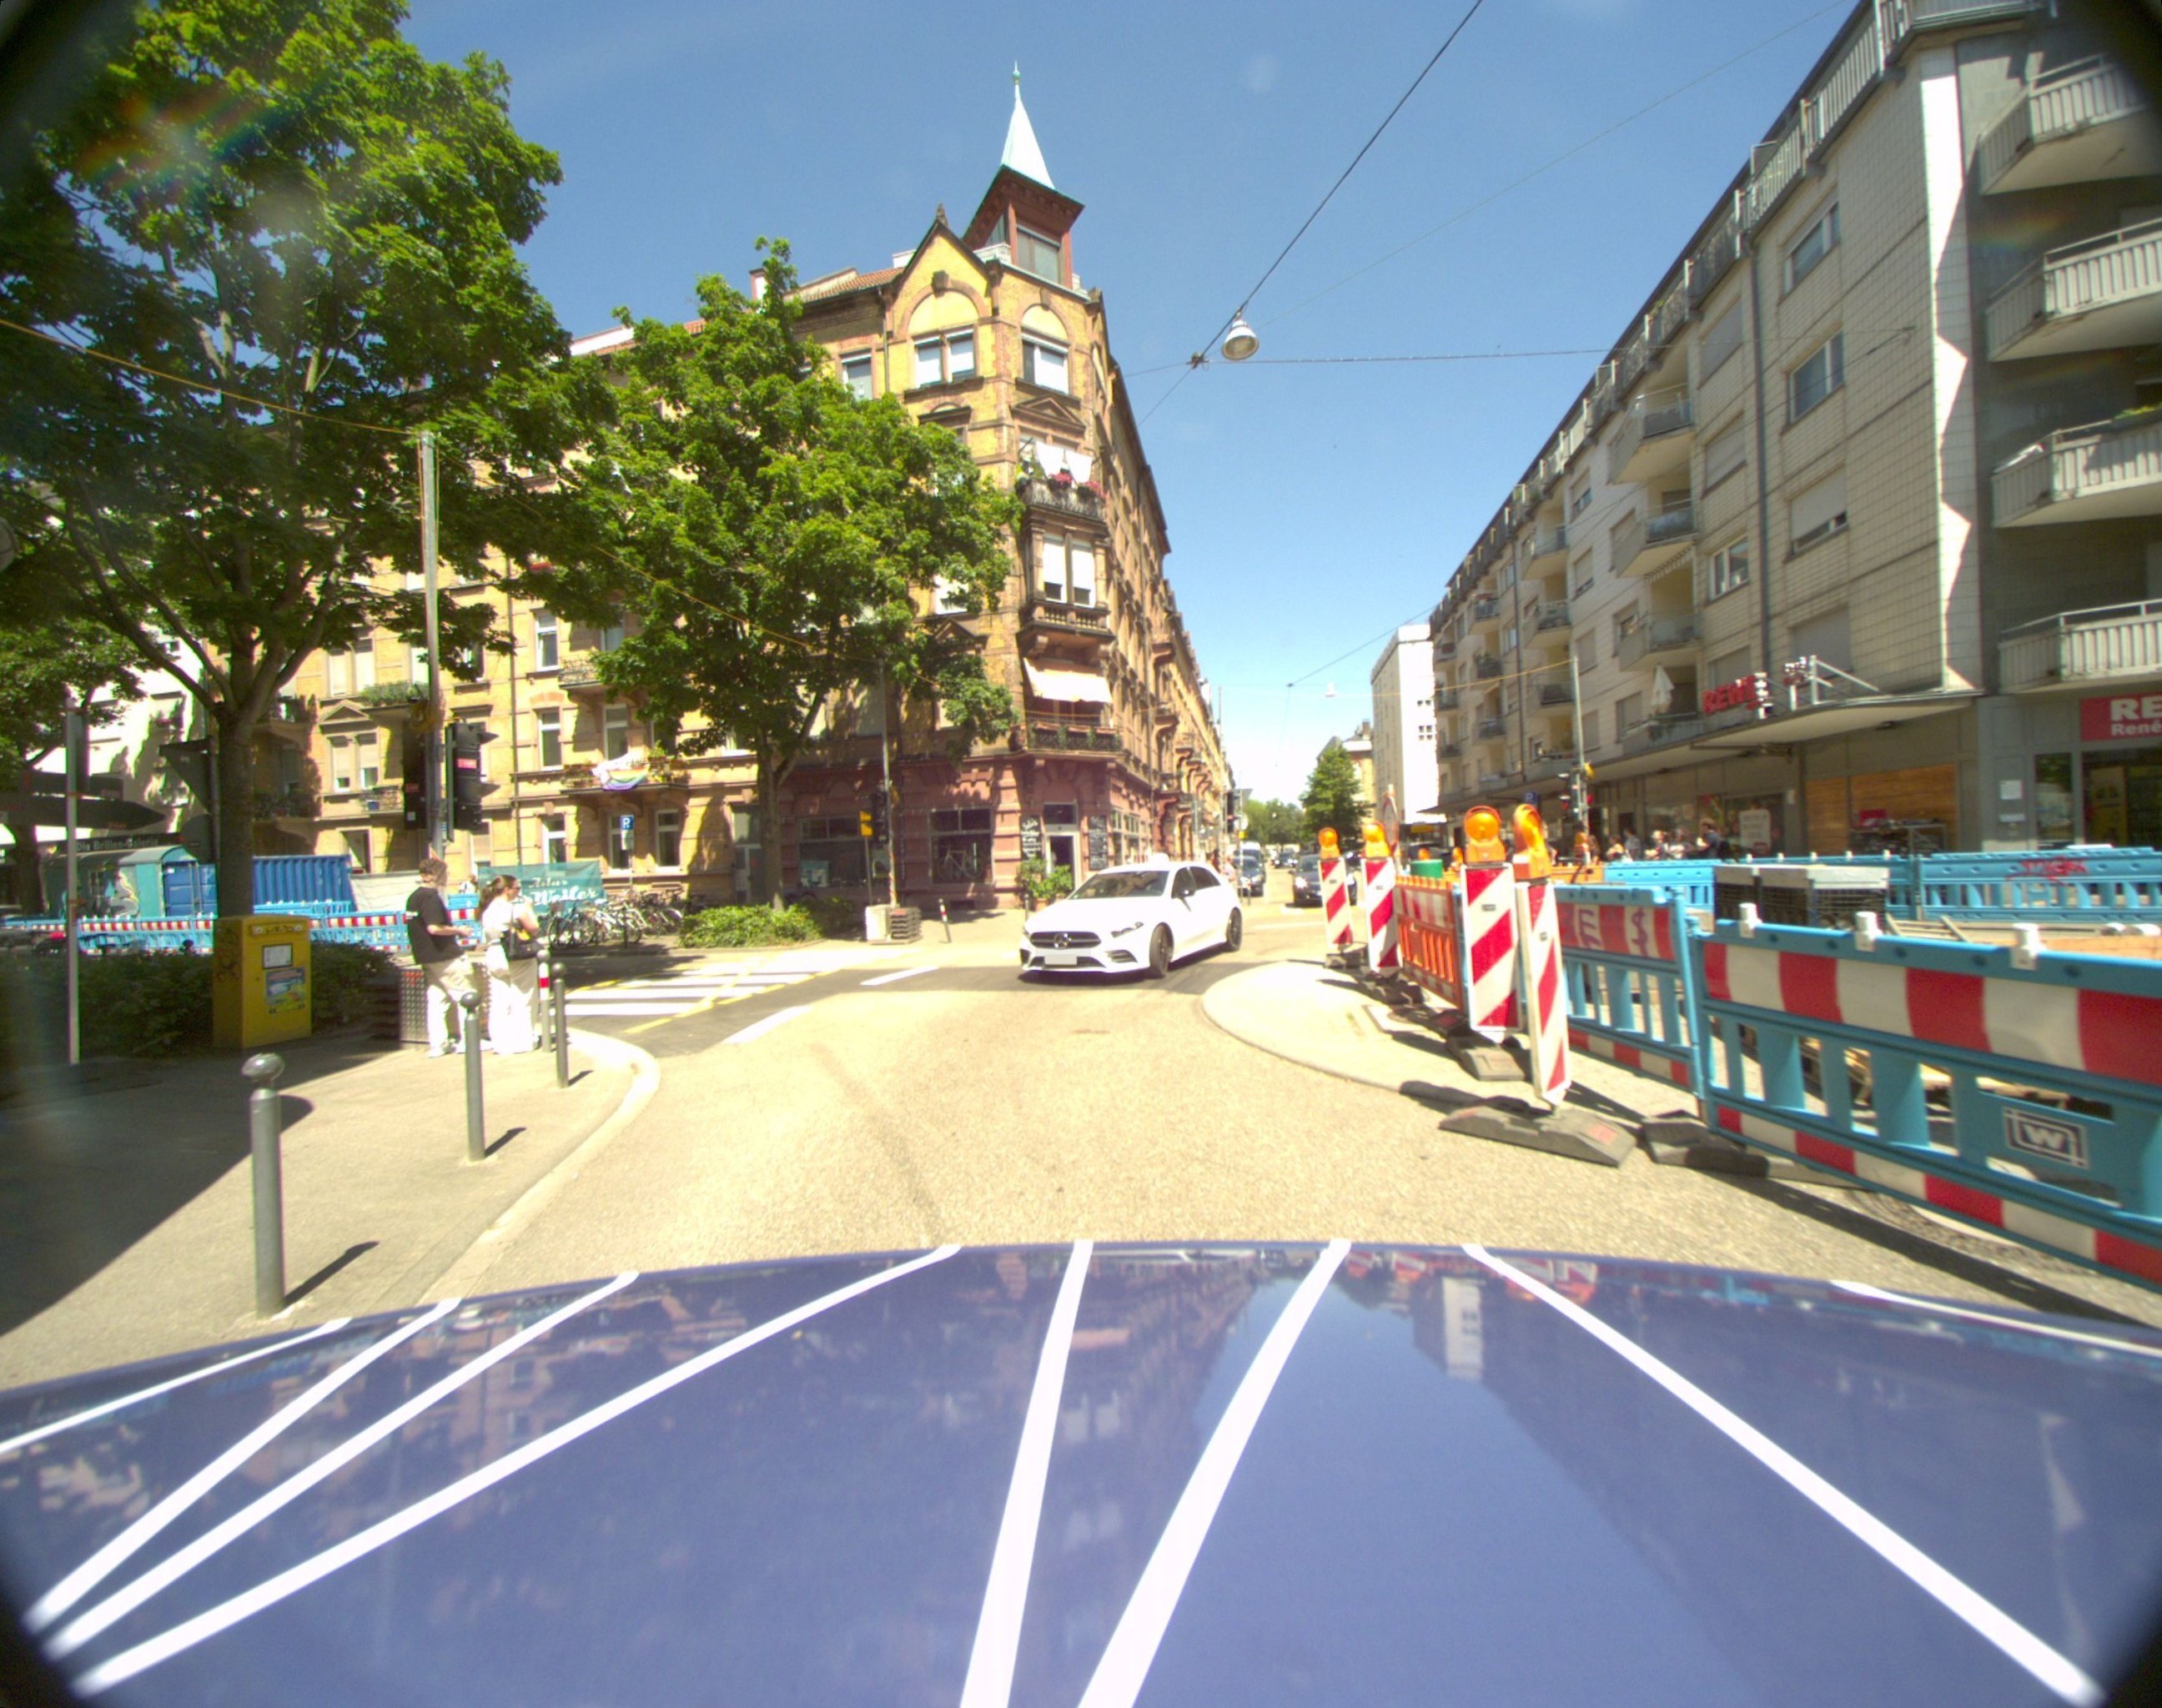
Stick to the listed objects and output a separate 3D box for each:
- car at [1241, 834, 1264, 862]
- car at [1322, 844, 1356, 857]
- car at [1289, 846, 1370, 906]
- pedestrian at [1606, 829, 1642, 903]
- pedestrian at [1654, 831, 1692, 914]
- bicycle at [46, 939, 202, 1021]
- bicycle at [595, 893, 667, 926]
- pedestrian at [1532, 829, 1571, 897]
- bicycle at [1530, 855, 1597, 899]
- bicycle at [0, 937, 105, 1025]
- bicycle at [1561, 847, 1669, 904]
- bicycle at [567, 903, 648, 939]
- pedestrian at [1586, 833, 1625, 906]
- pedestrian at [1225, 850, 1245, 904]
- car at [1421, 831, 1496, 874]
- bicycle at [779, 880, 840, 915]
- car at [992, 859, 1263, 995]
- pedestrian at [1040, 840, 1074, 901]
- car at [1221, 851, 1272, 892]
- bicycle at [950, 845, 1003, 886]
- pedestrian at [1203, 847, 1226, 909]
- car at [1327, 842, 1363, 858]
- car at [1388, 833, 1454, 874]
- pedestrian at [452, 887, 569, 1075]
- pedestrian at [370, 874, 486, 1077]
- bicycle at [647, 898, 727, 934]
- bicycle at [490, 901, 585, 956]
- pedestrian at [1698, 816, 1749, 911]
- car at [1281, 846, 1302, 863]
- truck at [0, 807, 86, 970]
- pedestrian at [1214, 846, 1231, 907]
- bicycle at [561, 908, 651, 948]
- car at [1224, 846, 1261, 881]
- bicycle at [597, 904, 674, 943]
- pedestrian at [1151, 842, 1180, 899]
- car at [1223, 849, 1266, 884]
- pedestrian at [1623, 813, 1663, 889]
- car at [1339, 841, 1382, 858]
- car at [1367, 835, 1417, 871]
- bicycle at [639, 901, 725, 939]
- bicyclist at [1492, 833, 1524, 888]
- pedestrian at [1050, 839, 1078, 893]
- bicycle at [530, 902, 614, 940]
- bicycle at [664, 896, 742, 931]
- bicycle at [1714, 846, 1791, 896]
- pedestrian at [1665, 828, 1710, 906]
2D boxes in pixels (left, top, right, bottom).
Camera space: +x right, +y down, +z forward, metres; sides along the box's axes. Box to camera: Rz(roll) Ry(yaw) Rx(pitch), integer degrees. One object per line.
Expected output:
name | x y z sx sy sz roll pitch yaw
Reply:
car | 17.748 -0.666 78.436 2.066 2.686 5.043 -4 0 13
car | 32.115 -0.473 94.656 3.881 1.487 1.653 -2 0 13
car | 6.989 0.555 21.723 1.779 1.460 4.004 -4 0 13
pedestrian | 11.637 0.253 16.273 0.496 1.556 0.460 -4 -1 40
pedestrian | 11.701 0.363 15.021 0.390 1.608 0.476 -2 1 11
bicycle | -12.464 1.636 9.900 1.763 0.990 0.471 -2 -1 10
bicycle | -13.056 1.616 22.028 2.071 0.867 0.510 -2 1 17
pedestrian | 12.282 0.232 19.847 0.657 1.717 0.633 -2 1 11
bicycle | 13.565 0.649 21.380 1.522 1.110 0.336 -5 0 9
bicycle | -12.942 1.548 9.283 1.763 0.990 0.471 -2 -1 10
bicycle | 11.388 0.470 16.251 1.806 1.112 0.469 -4 0 35
bicycle | -12.093 1.714 19.400 2.071 0.867 0.510 -2 1 17
pedestrian | 11.963 0.339 17.335 0.542 1.623 0.512 -2 1 11
pedestrian | 4.445 0.666 21.948 0.493 1.534 0.437 0 1 19
car | 14.989 -0.073 30.410 1.672 1.516 4.468 -3 0 14
bicycle | -8.222 1.316 23.001 1.693 1.002 0.523 -2 0 14
car | 0.872 0.844 10.608 1.810 1.417 4.250 -2 0 34
pedestrian | -0.738 0.491 23.507 0.943 1.810 0.455 -2 4 -33
car | 6.324 0.622 28.792 1.629 1.424 3.664 -1 1 16
bicycle | -3.061 0.327 22.252 1.424 1.145 0.510 -2 1 16
pedestrian | 3.424 0.611 19.480 0.460 1.551 0.479 -2 1 20
car | 30.970 -0.478 89.209 3.881 1.737 1.653 -2 0 13
car | 16.432 -0.033 36.921 1.792 1.800 4.703 -3 0 11
pedestrian | -5.159 1.120 6.894 0.703 1.635 0.423 0 -2 6
pedestrian | -5.889 1.068 6.872 0.576 1.758 0.472 0 -2 6
bicycle | -10.325 1.628 19.917 2.071 0.867 0.510 -2 1 17
bicycle | -12.044 1.650 16.847 1.782 1.101 0.509 -2 2 7
pedestrian | 12.661 0.181 14.984 0.510 1.809 0.600 -2 1 11
car | 18.706 0.010 67.454 1.746 1.382 4.004 -2 0 16
truck | -28.230 0.910 19.056 4.469 3.931 2.291 -2 1 15
pedestrian | 3.889 0.622 20.901 0.333 1.666 0.402 -2 1 20
bicycle | -10.992 1.715 17.577 2.071 0.867 0.510 -2 1 17
car | 8.629 0.449 40.702 1.827 1.756 4.341 -1 1 12
bicycle | -10.712 1.670 18.263 1.742 0.867 0.510 -2 1 17
pedestrian | 2.619 0.499 23.538 0.478 1.723 0.873 -2 2 33
car | 7.393 0.524 34.419 1.728 1.424 4.489 -1 0 12
pedestrian | 13.485 -0.070 18.240 0.510 1.760 0.600 -2 1 11
car | 28.370 -0.419 77.160 3.881 1.520 1.653 -2 0 13
car | 17.543 -0.055 43.006 1.791 1.818 4.905 -3 0 13
bicycle | -9.850 1.625 18.752 2.071 0.867 0.510 -2 1 17
bicyclist | 13.489 0.199 24.016 0.624 1.696 0.980 -3 1 16
pedestrian | -0.563 0.377 24.883 0.725 1.709 0.495 -2 3 -32
bicycle | -12.602 1.655 18.818 2.071 0.867 0.510 -2 1 17
bicycle | -10.219 1.602 20.535 2.071 0.867 0.510 -2 1 17
bicycle | 15.180 0.390 17.220 0.321 1.080 1.432 -3 -1 -5
pedestrian | 12.967 0.270 16.259 0.510 1.623 0.600 -2 1 11
